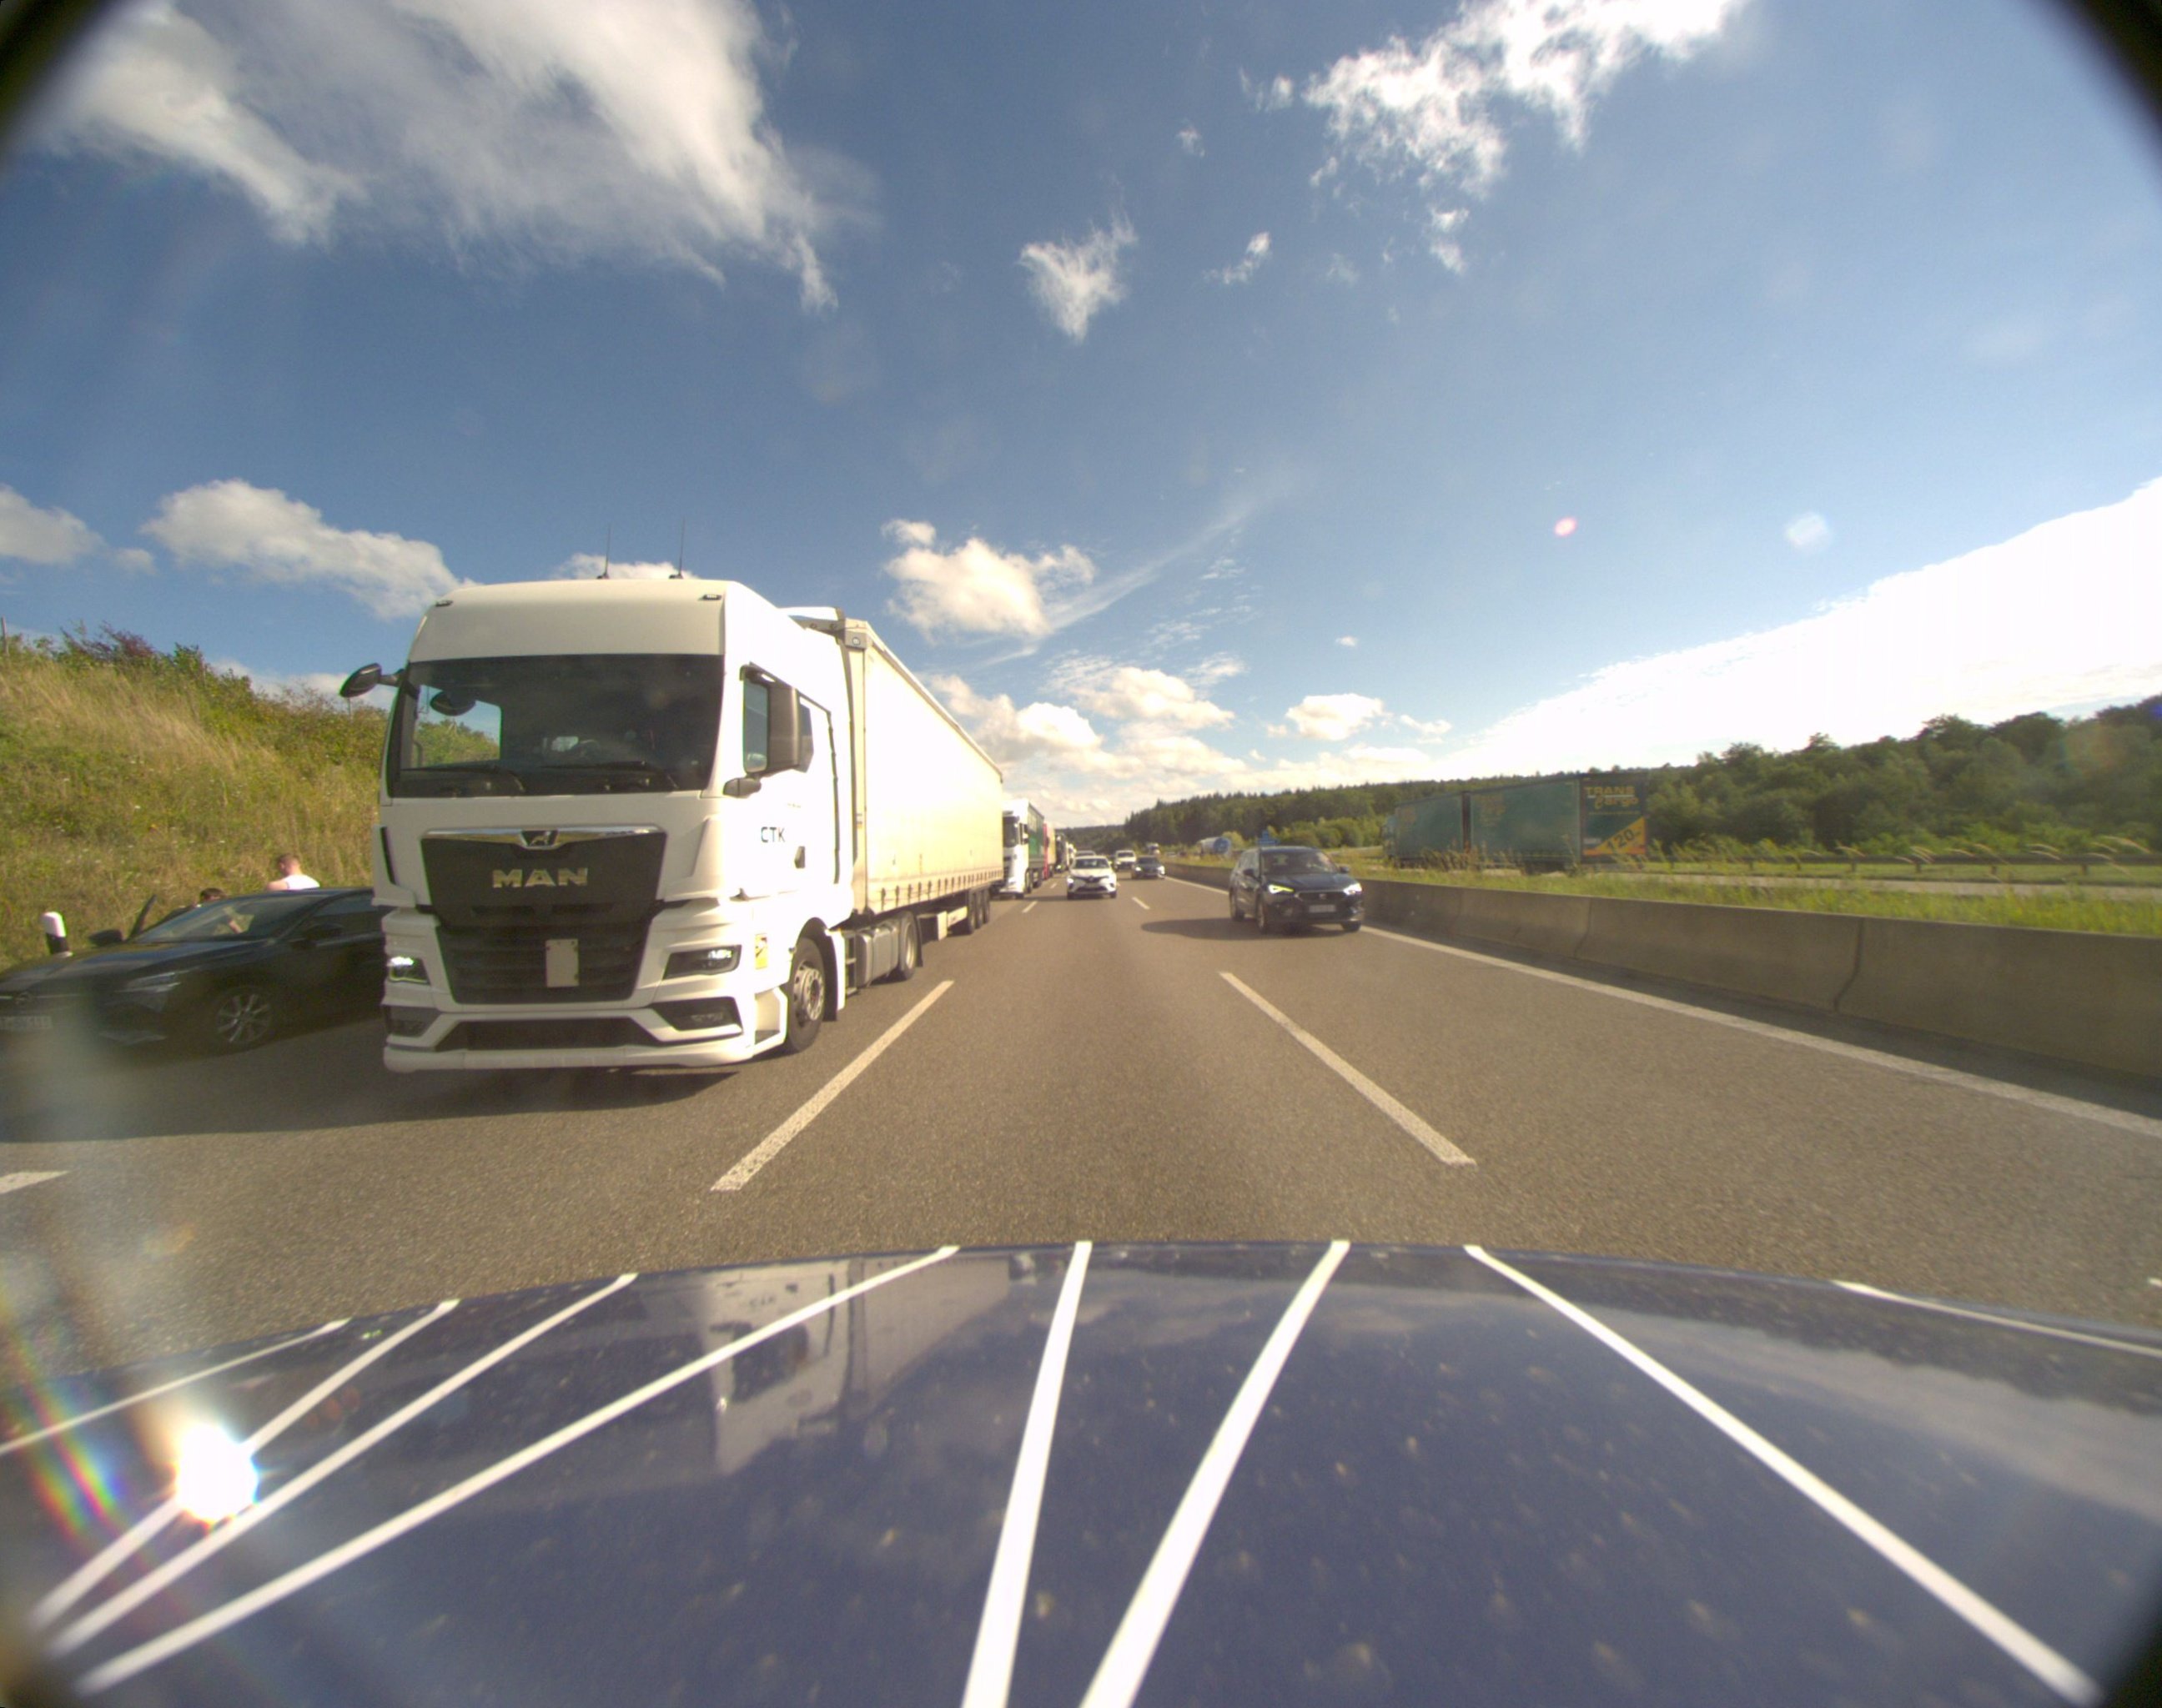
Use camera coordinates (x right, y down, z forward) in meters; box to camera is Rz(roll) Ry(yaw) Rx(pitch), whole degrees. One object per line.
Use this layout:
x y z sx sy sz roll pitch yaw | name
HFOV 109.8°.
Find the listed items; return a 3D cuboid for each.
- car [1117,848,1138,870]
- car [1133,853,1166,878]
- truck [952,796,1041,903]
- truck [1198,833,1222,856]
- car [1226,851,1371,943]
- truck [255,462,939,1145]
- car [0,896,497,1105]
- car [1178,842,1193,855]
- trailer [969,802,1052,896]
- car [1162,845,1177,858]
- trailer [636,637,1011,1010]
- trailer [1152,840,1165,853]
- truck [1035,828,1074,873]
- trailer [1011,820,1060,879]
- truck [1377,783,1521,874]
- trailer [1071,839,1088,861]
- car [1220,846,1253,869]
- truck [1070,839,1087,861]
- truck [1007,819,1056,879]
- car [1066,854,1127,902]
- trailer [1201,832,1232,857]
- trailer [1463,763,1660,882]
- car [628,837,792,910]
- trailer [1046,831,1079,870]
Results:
4.282 0.472 70.443 1.779 1.923 4.214 -2 0 1 | car
4.354 0.730 48.795 1.779 1.451 4.158 -2 1 1 | car
-3.281 -0.195 31.272 2.653 3.846 6.995 -2 1 1 | truck
19.462 -1.407 115.250 2.323 3.255 6.104 -5 1 0 | truck
4.209 0.743 15.377 1.779 1.533 4.158 -2 1 1 | car
-3.492 -0.315 7.755 2.715 4.036 6.361 -2 1 1 | truck
-8.149 1.230 7.636 1.637 1.344 3.738 -2 0 0 | car
16.166 -0.882 117.894 1.764 1.871 3.999 -5 1 1 | car
-3.205 -0.273 38.571 2.668 3.846 13.393 -2 1 1 | trailer
12.377 -0.399 106.569 1.675 1.615 3.766 -5 1 1 | car
-3.426 -0.352 14.855 2.709 4.058 12.943 -1 0 1 | trailer
21.168 -2.029 208.465 2.806 3.508 8.953 -2 1 1 | trailer
-2.526 -0.379 76.687 2.747 4.015 10.203 -5 1 3 | truck
-3.353 -0.388 59.253 2.799 3.916 13.067 -3 1 0 | trailer
19.526 -1.252 41.302 2.718 4.219 10.342 -2 1 0 | truck
-0.307 -0.800 152.828 2.652 3.911 11.174 -5 0 2 | trailer
11.963 0.258 58.608 1.673 1.573 3.999 -5 1 0 | car
-0.505 -0.740 146.052 2.655 3.902 6.942 -5 0 2 | truck
-3.389 -0.370 53.706 2.809 3.916 5.825 -3 1 0 | truck
0.618 0.817 28.488 2.026 1.511 5.299 -3 0 2 | car
19.488 -1.338 110.070 2.327 3.265 10.873 -5 1 0 | trailer
19.586 -1.186 31.811 2.732 4.219 8.551 -2 1 0 | trailer
-7.800 0.366 16.381 1.664 1.344 3.738 -2 0 0 | car
-2.051 -0.418 86.157 2.722 3.937 8.712 -5 0 3 | trailer
